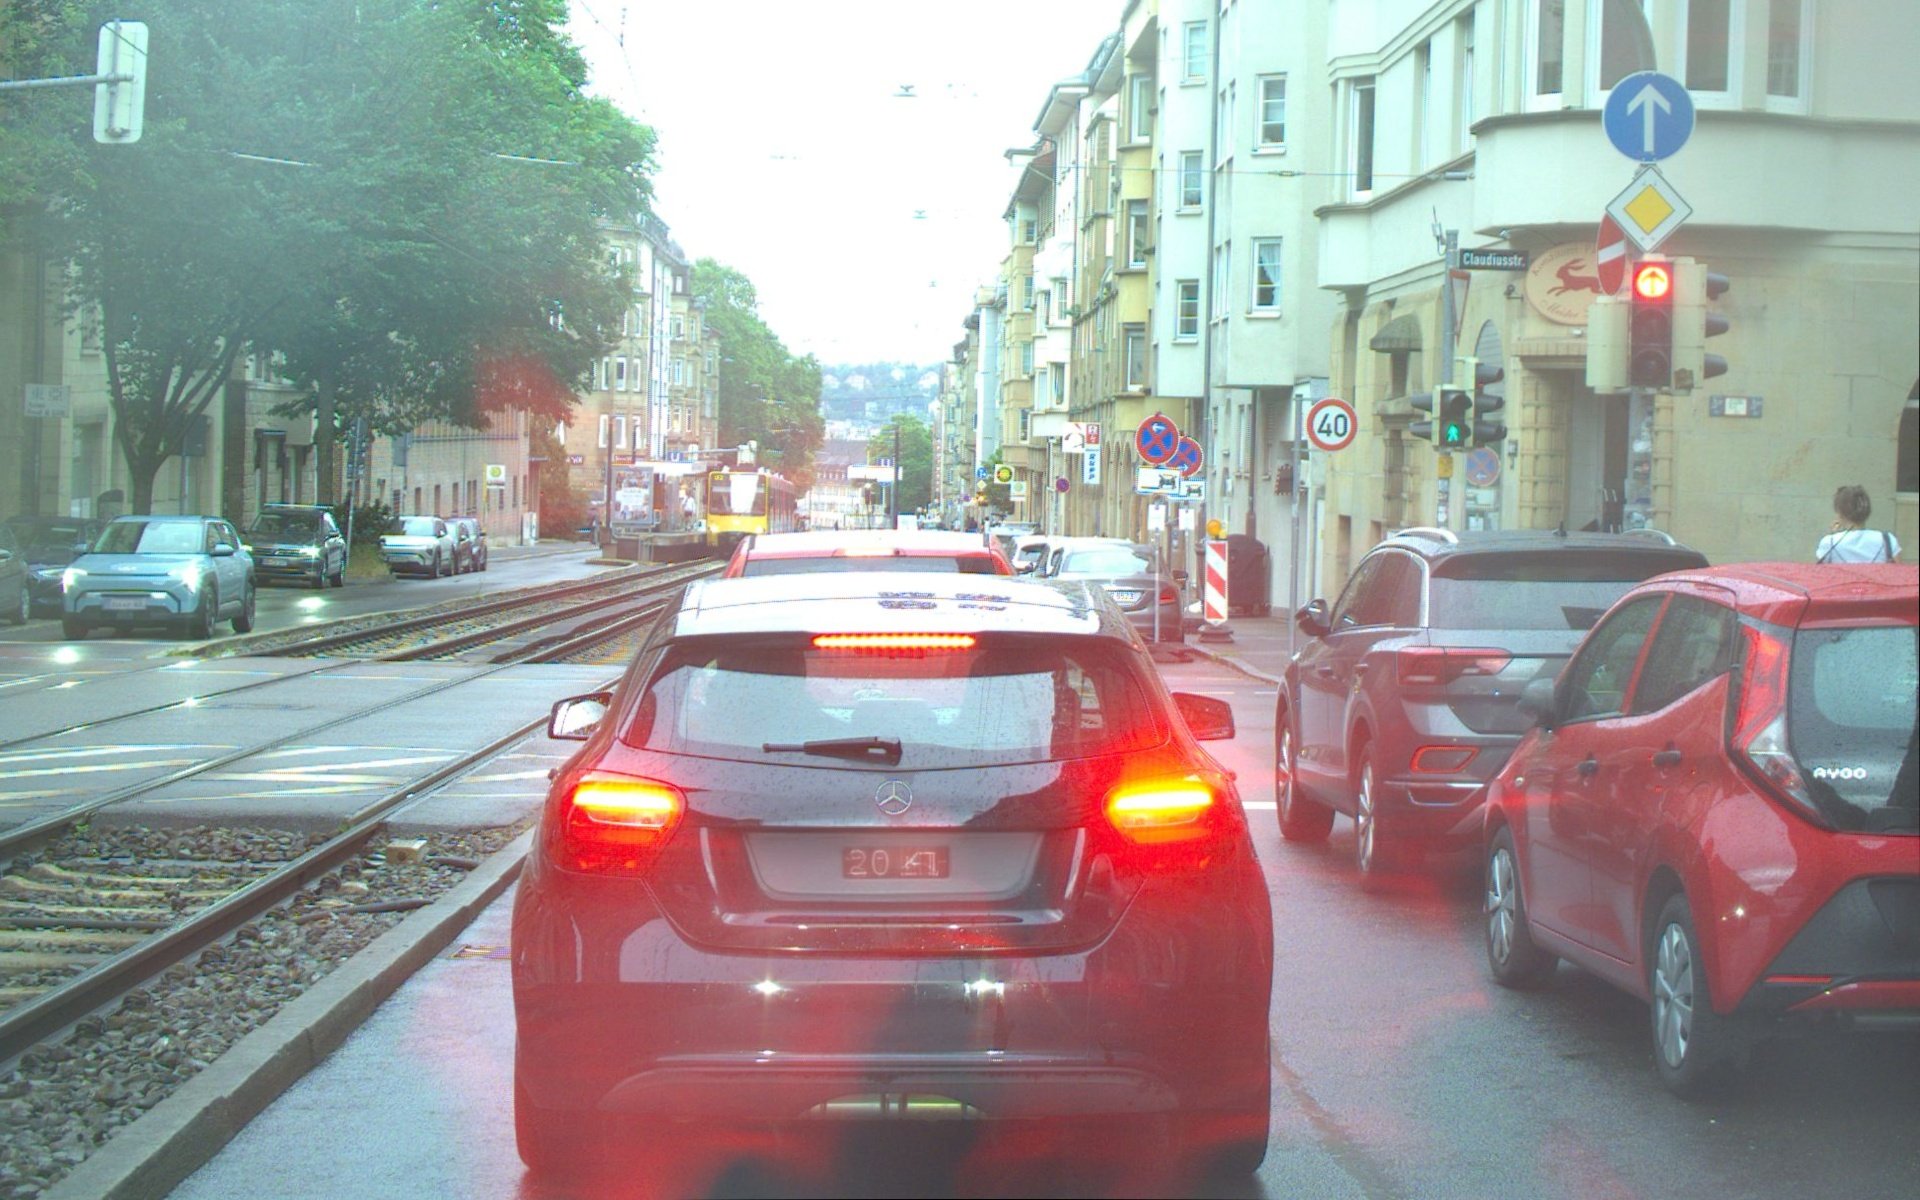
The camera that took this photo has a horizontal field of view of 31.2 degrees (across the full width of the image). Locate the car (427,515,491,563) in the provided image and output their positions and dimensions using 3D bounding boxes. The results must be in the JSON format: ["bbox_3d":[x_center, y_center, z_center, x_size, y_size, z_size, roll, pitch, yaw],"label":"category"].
[{"bbox_3d":[-14.354,-1.726,98.567,1.448,1.326,3.272,1,0,-2],"label":"car"}]

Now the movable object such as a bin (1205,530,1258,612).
[{"bbox_3d":[4.702,-0.504,59.568,0.878,1.384,0.982,1,0,3],"label":"movable object such as a bin"}]

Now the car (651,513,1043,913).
[{"bbox_3d":[-0.482,0.441,15.839,1.565,1.604,3.814,1,0,-1],"label":"car"}]

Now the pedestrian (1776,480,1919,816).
[{"bbox_3d":[4.903,0.247,18.466,0.741,1.742,1.111,1,0,-1],"label":"pedestrian"}]

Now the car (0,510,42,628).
[{"bbox_3d":[-13.491,-0.423,45.686,1.752,1.547,4.036,1,0,-4],"label":"car"}]

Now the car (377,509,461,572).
[{"bbox_3d":[-14.009,-1.538,89.158,1.589,1.575,3.918,1,0,-1],"label":"car"}]

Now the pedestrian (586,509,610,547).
[{"bbox_3d":[-18.916,-3.778,179.579,1.053,1.951,1.043,2,1,1],"label":"pedestrian"}]

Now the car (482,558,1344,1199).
[{"bbox_3d":[-0.128,0.643,9.452,1.829,1.453,4.104,1,1,-1],"label":"car"}]

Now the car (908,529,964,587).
[{"bbox_3d":[-0.689,-1.218,98.915,1.544,1.630,3.686,1,1,0],"label":"car"}]

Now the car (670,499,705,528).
[{"bbox_3d":[-11.999,-3.801,151.492,1.377,1.245,3.298,1,0,-2],"label":"car"}]

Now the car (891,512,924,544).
[{"bbox_3d":[-3.174,-4.338,208.003,1.993,1.870,4.000,1,0,-1],"label":"car"}]

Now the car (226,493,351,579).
[{"bbox_3d":[-13.969,-1.320,71.695,1.875,1.731,3.918,1,0,-1],"label":"car"}]

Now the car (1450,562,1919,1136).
[{"bbox_3d":[2.647,0.635,10.521,1.642,1.443,3.299,1,1,-3],"label":"car"}]

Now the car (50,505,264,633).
[{"bbox_3d":[-10.466,-0.408,45.072,1.898,1.582,3.973,1,0,-1],"label":"car"}]

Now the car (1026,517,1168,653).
[{"bbox_3d":[1.661,-0.208,42.636,1.544,1.585,3.548,1,1,-1],"label":"car"}]

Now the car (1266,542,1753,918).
[{"bbox_3d":[2.383,0.491,15.759,1.544,1.481,3.830,1,1,-1],"label":"car"}]

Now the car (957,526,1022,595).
[{"bbox_3d":[0.623,-0.858,73.589,1.294,1.437,2.929,1,1,-1],"label":"car"}]

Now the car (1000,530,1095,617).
[{"bbox_3d":[1.544,-0.499,61.520,1.544,1.481,3.548,1,1,-1],"label":"car"}]

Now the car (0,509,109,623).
[{"bbox_3d":[-13.744,-0.512,50.716,1.716,1.605,3.919,1,0,-5],"label":"car"}]

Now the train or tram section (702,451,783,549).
[{"bbox_3d":[-9.030,-4.111,143.489,2.783,3.847,10.430,1,0,-1],"label":"train or tram section"}]

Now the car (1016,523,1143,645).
[{"bbox_3d":[1.604,-0.245,47.111,1.544,1.585,3.548,1,1,-1],"label":"car"}]
